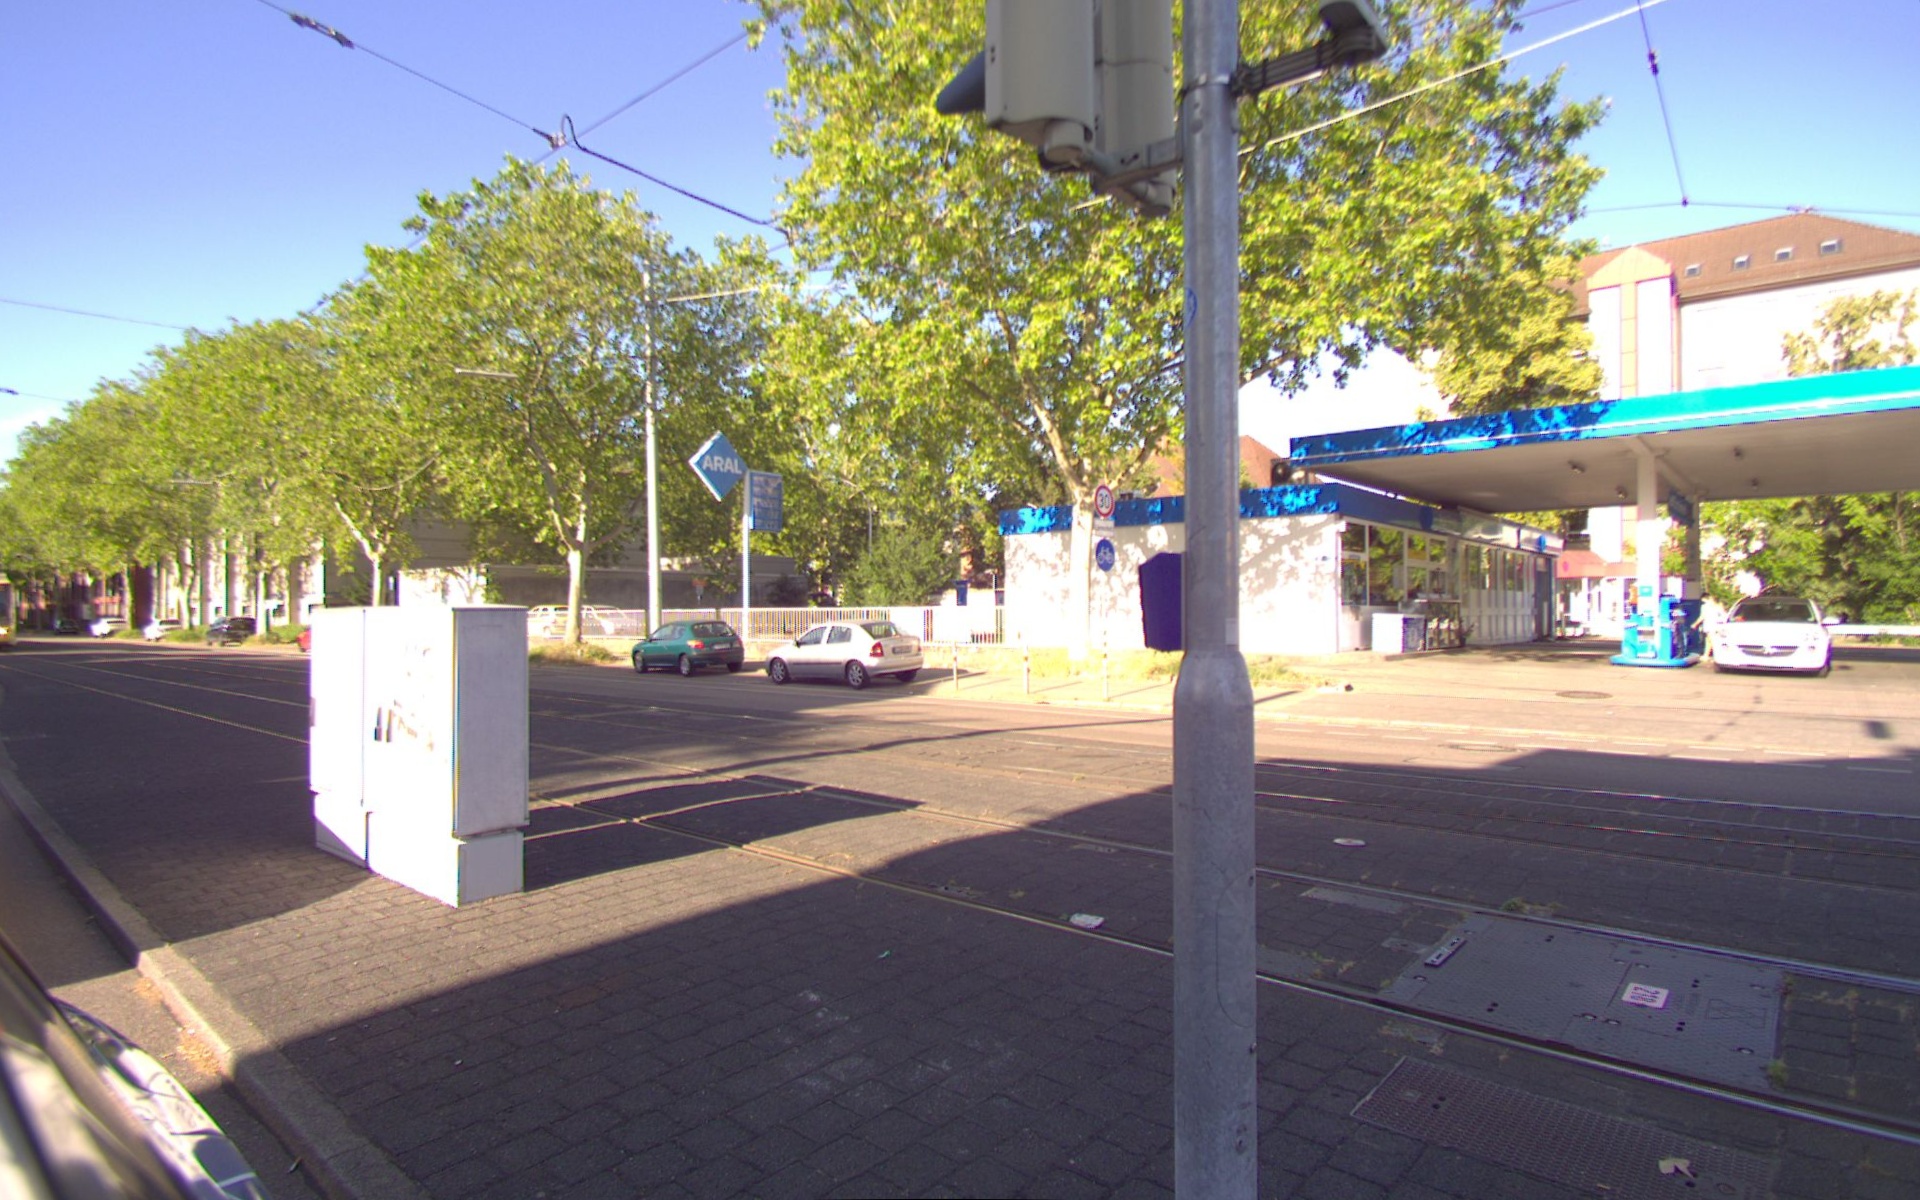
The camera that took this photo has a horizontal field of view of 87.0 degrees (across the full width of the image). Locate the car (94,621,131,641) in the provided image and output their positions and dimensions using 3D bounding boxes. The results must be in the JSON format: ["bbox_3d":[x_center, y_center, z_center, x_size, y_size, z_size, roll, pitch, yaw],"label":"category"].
[{"bbox_3d":[-66.676,2.437,79.614,3.748,1.459,1.674,-1,1,41],"label":"car"}]

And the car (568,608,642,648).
[{"bbox_3d":[-15.266,1.189,43.452,3.303,1.604,1.579,-1,0,41],"label":"car"}]

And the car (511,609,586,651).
[{"bbox_3d":[-17.085,1.224,41.975,3.303,1.628,1.579,-1,0,41],"label":"car"}]

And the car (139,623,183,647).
[{"bbox_3d":[-53.860,2.334,68.186,3.748,1.459,1.674,-1,1,41],"label":"car"}]

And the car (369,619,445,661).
[{"bbox_3d":[-21.878,1.552,40.007,3.303,1.519,1.579,-1,1,41],"label":"car"}]

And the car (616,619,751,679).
[{"bbox_3d":[-7.403,1.261,26.975,3.748,1.413,1.674,-1,1,41],"label":"car"}]

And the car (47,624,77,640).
[{"bbox_3d":[-85.236,3.019,96.053,3.748,1.459,1.674,-1,1,41],"label":"car"}]

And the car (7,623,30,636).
[{"bbox_3d":[-112.134,3.550,120.516,3.748,1.459,1.674,-1,1,41],"label":"car"}]

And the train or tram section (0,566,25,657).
[{"bbox_3d":[-44.184,0.580,44.826,12.646,3.692,2.683,-1,-1,41],"label":"train or tram section"}]

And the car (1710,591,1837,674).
[{"bbox_3d":[15.883,0.606,19.698,1.757,1.453,3.521,-1,-1,41],"label":"car"}]

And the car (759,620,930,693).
[{"bbox_3d":[-2.639,1.201,22.646,3.812,1.413,1.674,-1,1,41],"label":"car"}]

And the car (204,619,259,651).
[{"bbox_3d":[-40.676,1.932,56.459,3.748,1.670,1.674,-1,1,41],"label":"car"}]

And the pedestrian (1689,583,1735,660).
[{"bbox_3d":[17.097,0.491,23.018,0.641,1.714,0.499,-1,-1,6],"label":"pedestrian"}]

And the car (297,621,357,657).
[{"bbox_3d":[-28.687,1.749,45.835,2.621,1.519,1.579,-1,1,41],"label":"car"}]
